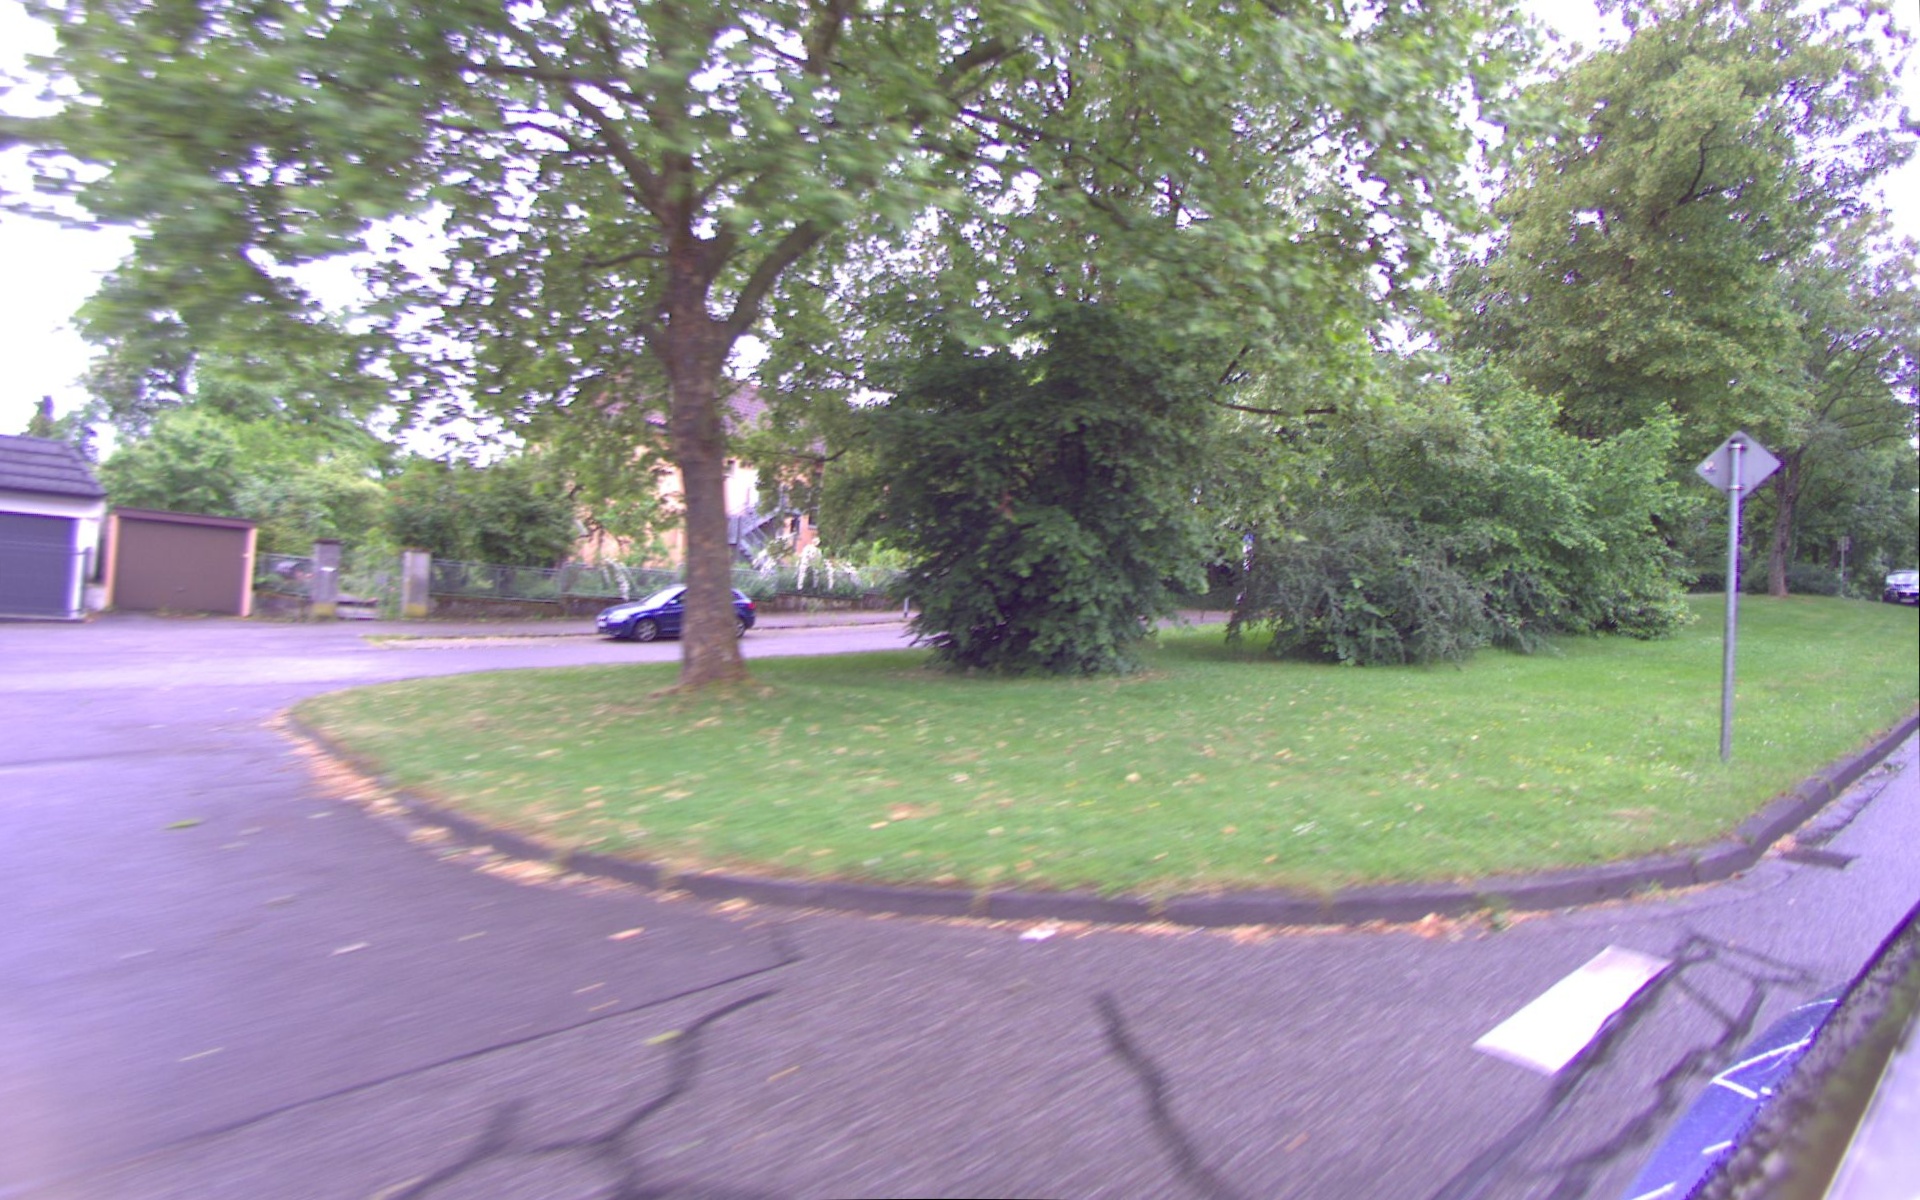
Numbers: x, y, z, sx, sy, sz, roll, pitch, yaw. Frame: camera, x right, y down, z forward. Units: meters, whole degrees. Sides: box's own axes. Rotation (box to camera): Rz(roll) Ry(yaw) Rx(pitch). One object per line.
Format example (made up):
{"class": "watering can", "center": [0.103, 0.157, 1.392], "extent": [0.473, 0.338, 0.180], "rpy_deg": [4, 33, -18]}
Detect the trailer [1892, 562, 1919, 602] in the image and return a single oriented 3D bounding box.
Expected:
{"class": "trailer", "center": [51.436, -0.950, 54.443], "extent": [1.697, 2.079, 3.888], "rpy_deg": [3, 3, 44]}

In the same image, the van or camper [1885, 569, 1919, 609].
{"class": "van or camper", "center": [48.016, -0.557, 50.834], "extent": [1.995, 1.891, 5.574], "rpy_deg": [4, 4, 44]}

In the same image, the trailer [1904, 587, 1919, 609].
{"class": "trailer", "center": [73.867, -0.123, 77.616], "extent": [1.994, 1.620, 4.496], "rpy_deg": [1, 0, 44]}

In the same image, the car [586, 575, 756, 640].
{"class": "car", "center": [-7.582, 0.166, 26.769], "extent": [3.992, 1.498, 1.648], "rpy_deg": [0, 4, -41]}
